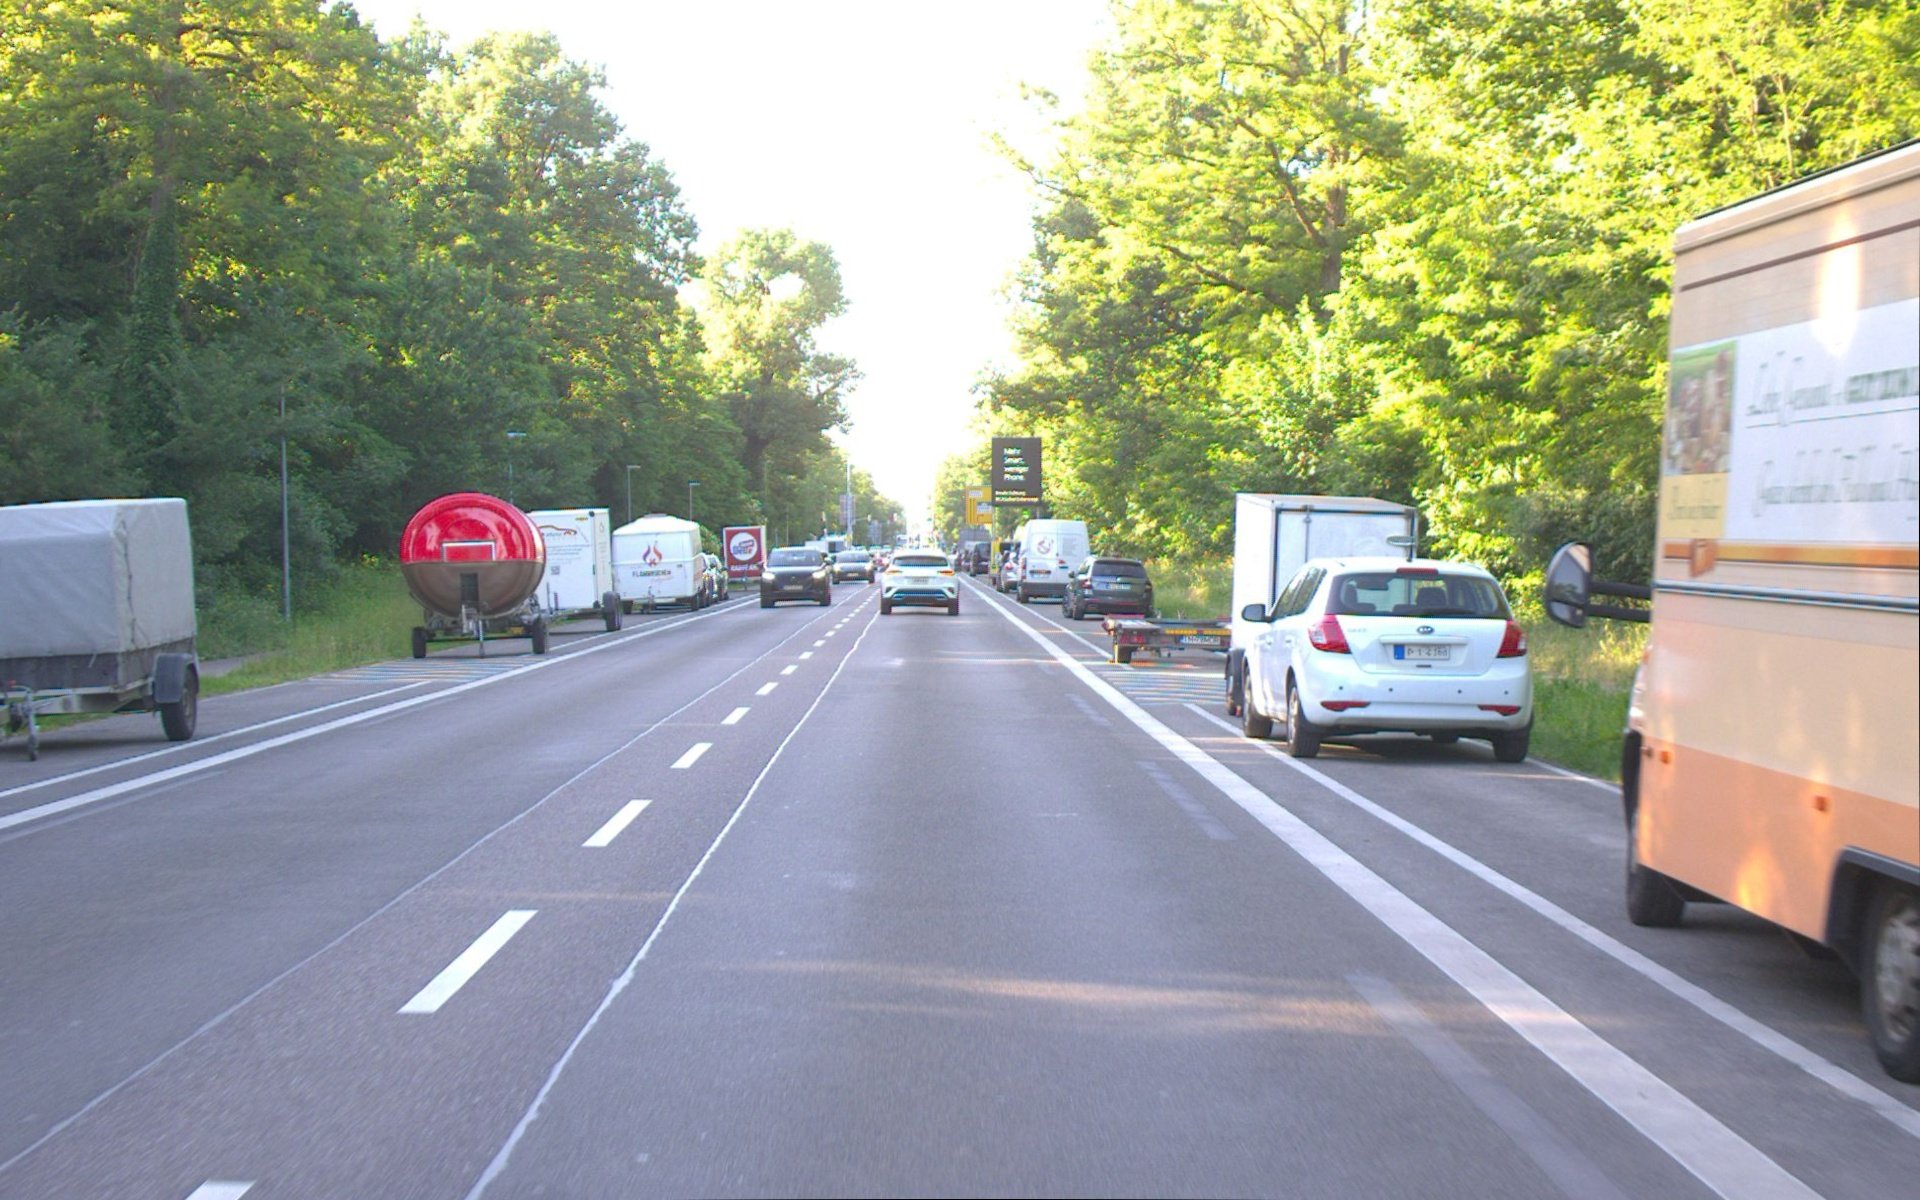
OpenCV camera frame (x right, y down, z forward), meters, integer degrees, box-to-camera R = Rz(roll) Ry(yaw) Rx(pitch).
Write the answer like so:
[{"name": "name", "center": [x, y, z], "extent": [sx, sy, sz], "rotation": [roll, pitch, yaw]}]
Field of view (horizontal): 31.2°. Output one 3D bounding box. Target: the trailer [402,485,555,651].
[{"name": "trailer", "center": [-7.421, -0.507, 53.319], "extent": [2.066, 2.472, 3.561], "rotation": [-1, 1, -4]}]

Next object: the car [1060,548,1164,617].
[{"name": "car", "center": [3.418, -0.414, 77.896], "extent": [1.834, 1.416, 4.597], "rotation": [3, 1, -3]}]

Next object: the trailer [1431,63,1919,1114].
[{"name": "trailer", "center": [3.972, -0.018, 12.007], "extent": [2.921, 2.831, 9.884], "rotation": [3, 0, -2]}]

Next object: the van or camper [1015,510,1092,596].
[{"name": "van or camper", "center": [2.724, -1.394, 101.447], "extent": [2.125, 2.474, 6.305], "rotation": [0, 1, 0]}]

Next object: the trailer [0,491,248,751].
[{"name": "trailer", "center": [-7.368, 0.152, 29.058], "extent": [1.853, 2.007, 3.561], "rotation": [-3, 1, 0]}]

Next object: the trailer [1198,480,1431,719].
[{"name": "trailer", "center": [3.324, -0.031, 32.798], "extent": [1.754, 2.154, 3.540], "rotation": [0, 1, -2]}]

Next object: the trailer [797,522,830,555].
[{"name": "trailer", "center": [-10.433, -4.358, 244.716], "extent": [2.075, 2.285, 3.486], "rotation": [-1, 1, 1]}]

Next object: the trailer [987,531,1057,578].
[{"name": "trailer", "center": [2.716, -1.986, 150.152], "extent": [1.964, 2.016, 3.840], "rotation": [0, 1, 19]}]

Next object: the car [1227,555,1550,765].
[{"name": "car", "center": [3.238, 0.401, 26.855], "extent": [1.887, 1.463, 4.570], "rotation": [1, 1, -1]}]

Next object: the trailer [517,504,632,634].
[{"name": "trailer", "center": [-7.561, -0.628, 67.676], "extent": [2.066, 2.472, 3.561], "rotation": [-1, 1, -4]}]

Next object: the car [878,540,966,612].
[{"name": "car", "center": [-0.886, -0.574, 80.359], "extent": [1.993, 1.634, 4.000], "rotation": [0, 1, 0]}]

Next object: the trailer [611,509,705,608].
[{"name": "trailer", "center": [-7.911, -1.105, 90.330], "extent": [2.345, 2.520, 4.345], "rotation": [-1, 1, -4]}]

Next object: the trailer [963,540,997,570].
[{"name": "trailer", "center": [1.425, -3.191, 243.708], "extent": [1.616, 2.105, 2.394], "rotation": [1, 1, 20]}]

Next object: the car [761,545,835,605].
[{"name": "car", "center": [-4.390, -0.689, 93.748], "extent": [1.818, 1.581, 4.459], "rotation": [-1, 0, 0]}]

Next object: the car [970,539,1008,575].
[{"name": "car", "center": [1.664, -2.498, 199.499], "extent": [2.113, 2.007, 5.040], "rotation": [2, 1, 0]}]

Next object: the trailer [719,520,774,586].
[{"name": "trailer", "center": [-8.618, -1.900, 138.856], "extent": [1.993, 2.612, 4.086], "rotation": [0, 1, 0]}]

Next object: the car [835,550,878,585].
[{"name": "car", "center": [-4.608, -1.434, 153.491], "extent": [1.819, 1.527, 4.530], "rotation": [-1, 0, -1]}]

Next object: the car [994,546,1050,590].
[{"name": "car", "center": [2.173, -1.151, 122.299], "extent": [1.734, 1.482, 4.401], "rotation": [2, 1, -2]}]

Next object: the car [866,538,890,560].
[{"name": "car", "center": [-5.602, -3.478, 234.964], "extent": [1.604, 1.416, 3.519], "rotation": [-1, 1, -1]}]

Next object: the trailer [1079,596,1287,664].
[{"name": "trailer", "center": [2.968, 0.382, 47.121], "extent": [2.432, 0.796, 5.660], "rotation": [1, 0, 0]}]
